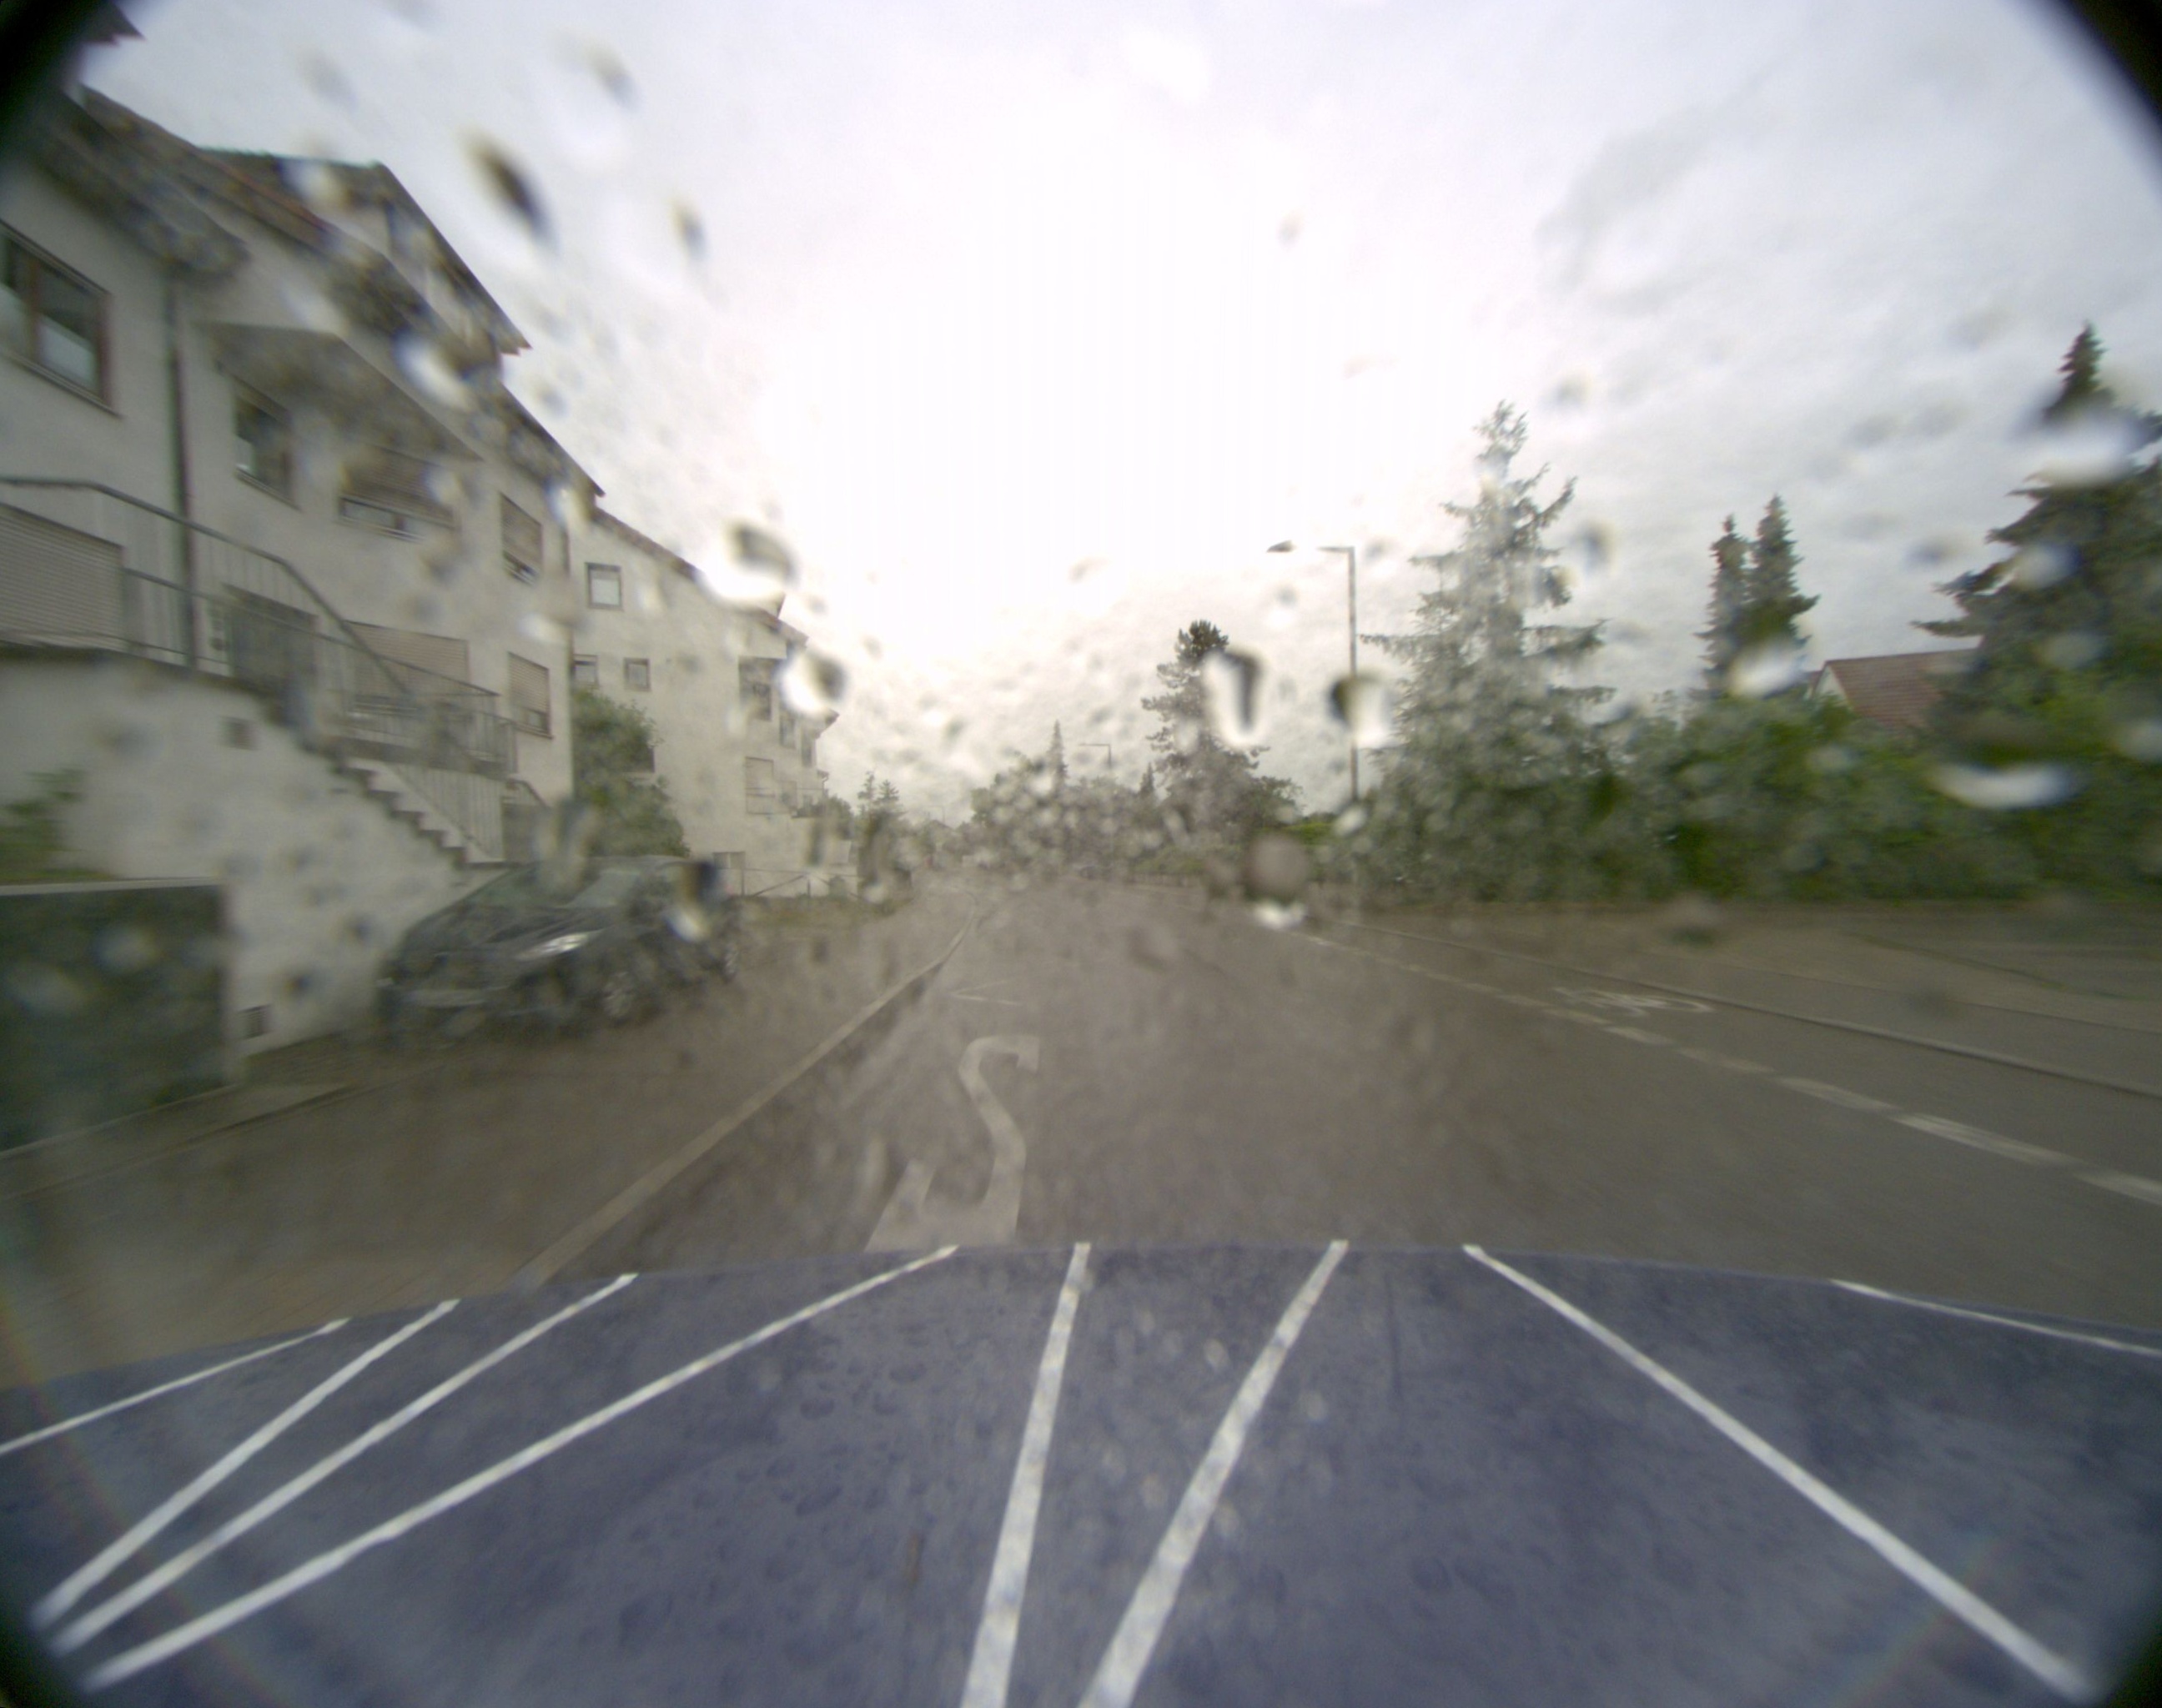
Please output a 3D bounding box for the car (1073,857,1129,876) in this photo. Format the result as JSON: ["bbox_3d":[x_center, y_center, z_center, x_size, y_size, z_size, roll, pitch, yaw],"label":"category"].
[{"bbox_3d":[1.520,0.970,58.933,4.000,1.264,1.872,-2,1,-10],"label":"car"}]

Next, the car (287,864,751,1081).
[{"bbox_3d":[-4.765,0.858,7.300,1.710,1.445,4.019,1,0,-5],"label":"car"}]

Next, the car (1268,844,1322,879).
[{"bbox_3d":[10.276,0.321,36.764,1.997,1.565,4.002,-2,0,8],"label":"car"}]

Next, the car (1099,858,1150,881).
[{"bbox_3d":[2.749,0.963,49.249,2.001,1.300,4.427,-2,0,-15],"label":"car"}]

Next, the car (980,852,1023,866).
[{"bbox_3d":[-9.290,0.564,89.055,4.561,1.467,1.835,-3,1,-28],"label":"car"}]

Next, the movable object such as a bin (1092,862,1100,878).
[{"bbox_3d":[0.991,1.046,49.633,0.371,0.982,0.557,-2,1,-16],"label":"movable object such as a bin"}]
